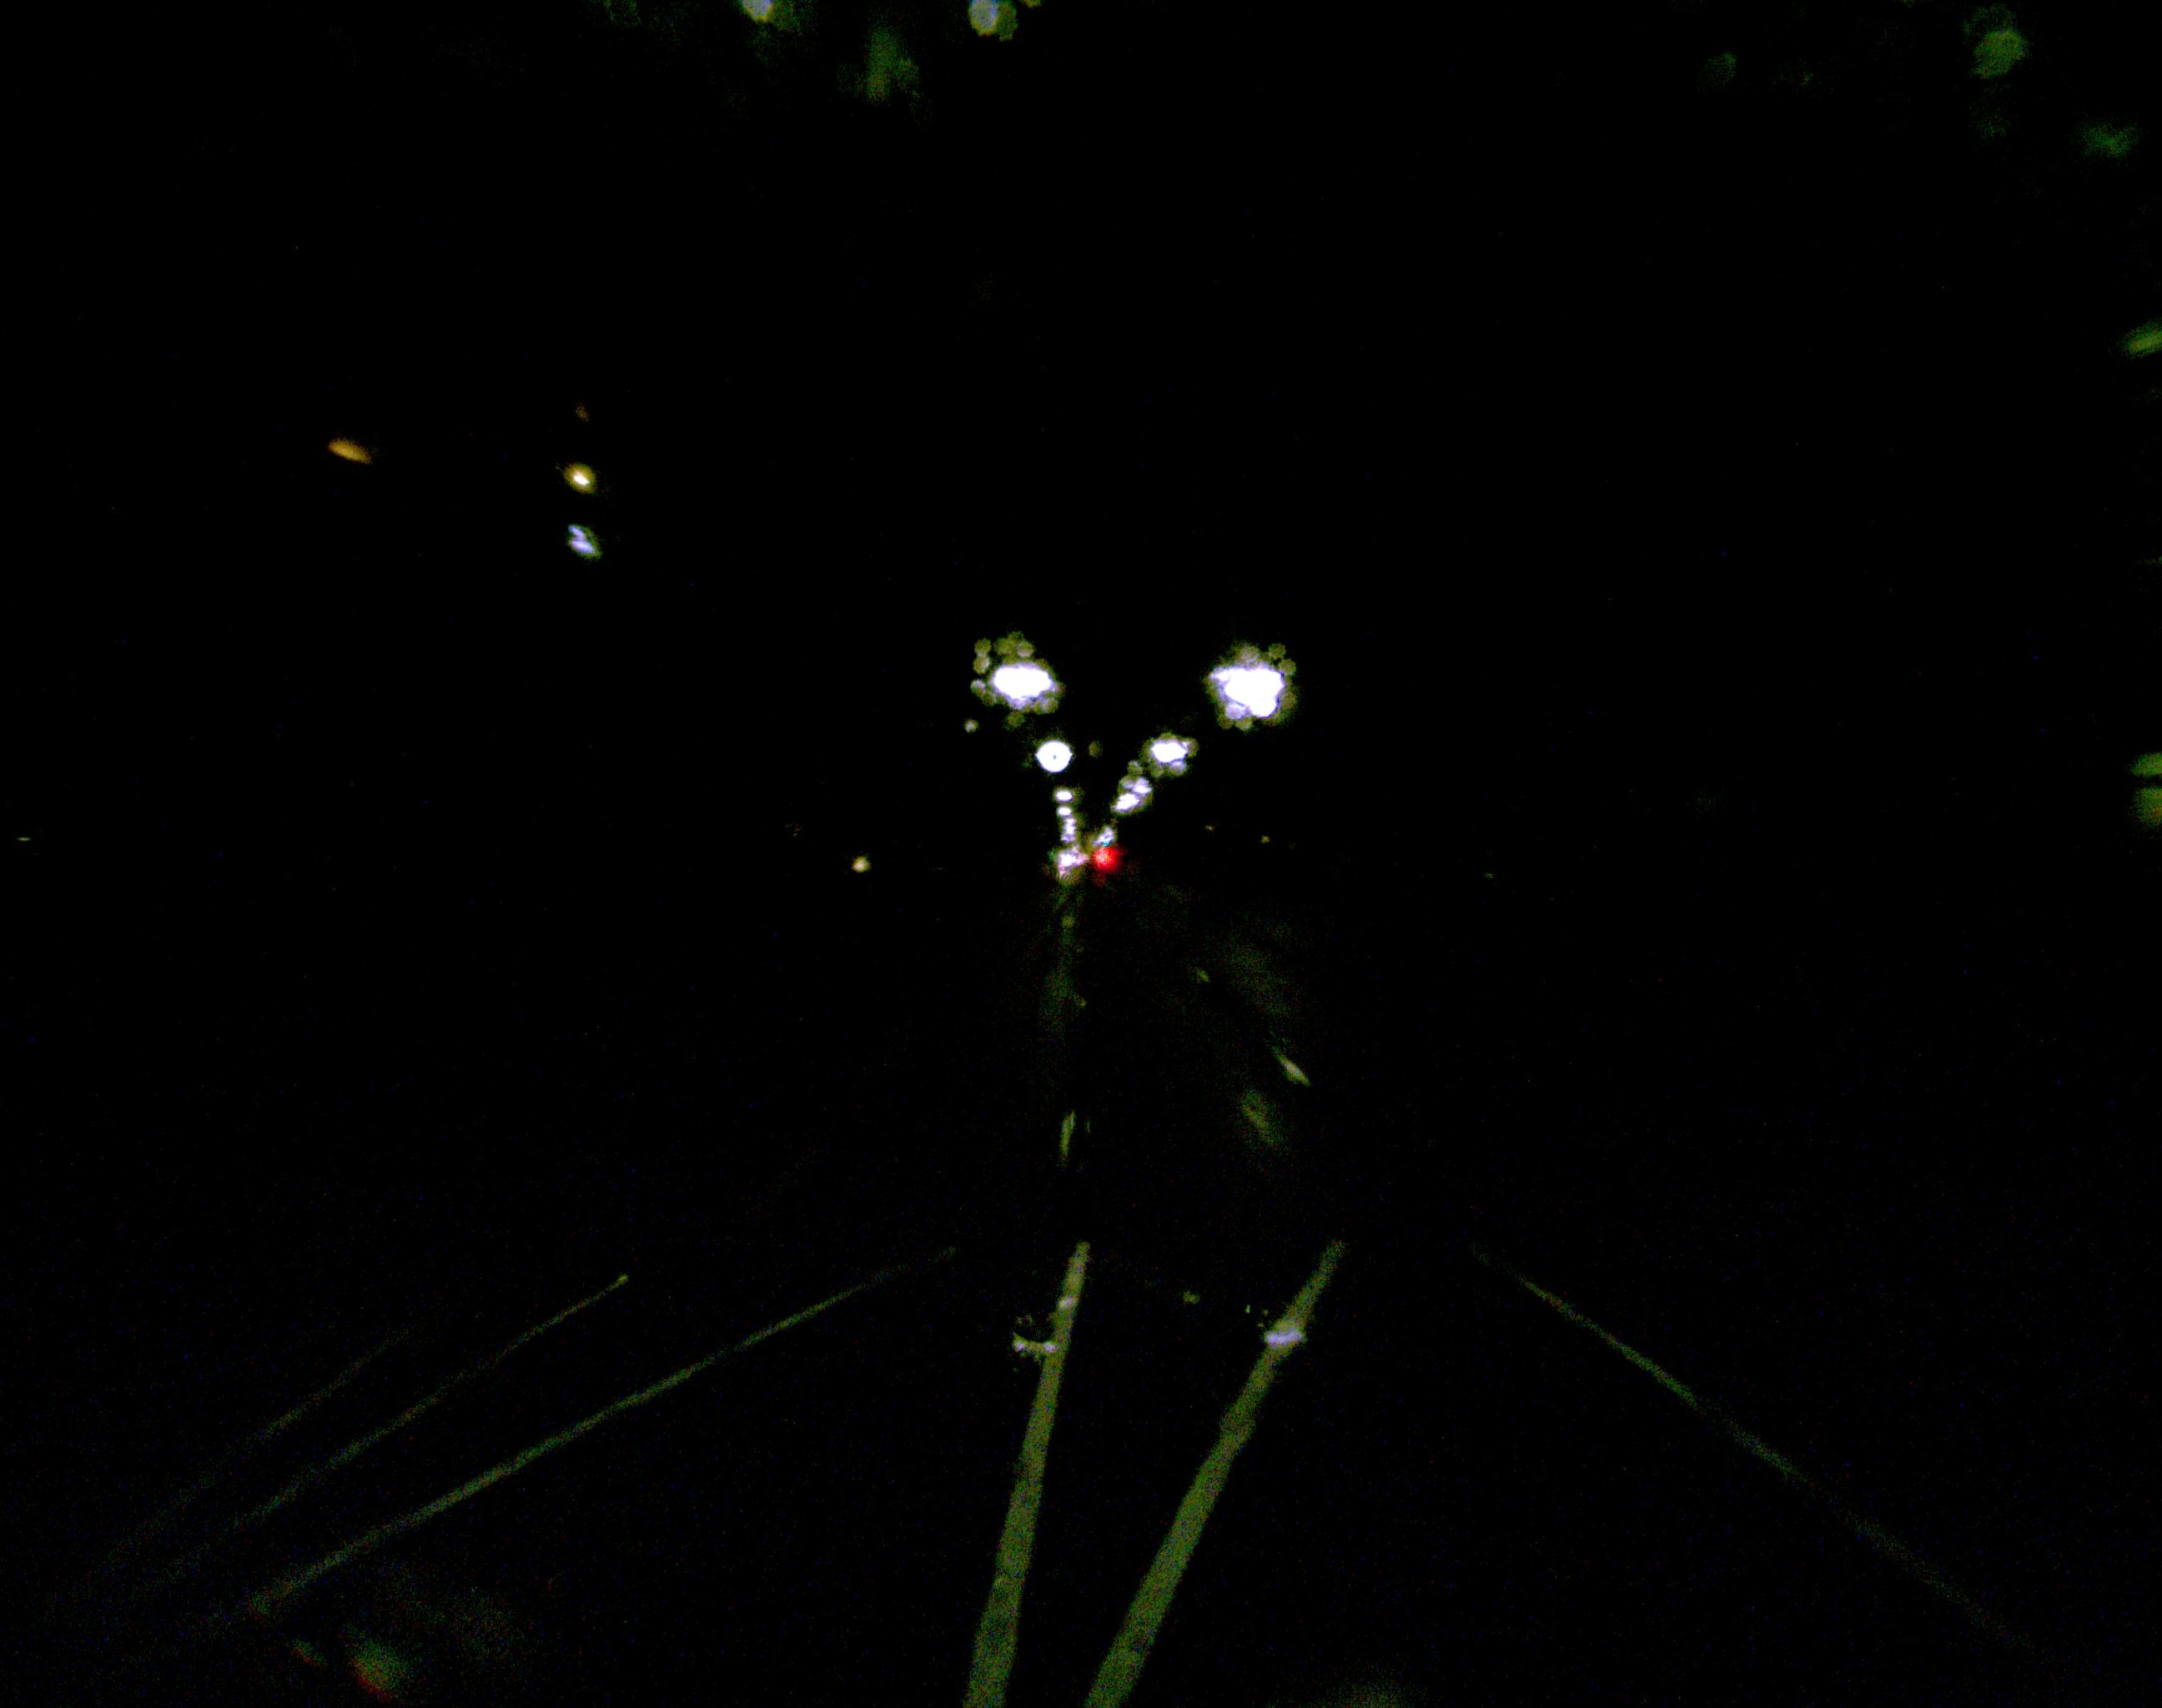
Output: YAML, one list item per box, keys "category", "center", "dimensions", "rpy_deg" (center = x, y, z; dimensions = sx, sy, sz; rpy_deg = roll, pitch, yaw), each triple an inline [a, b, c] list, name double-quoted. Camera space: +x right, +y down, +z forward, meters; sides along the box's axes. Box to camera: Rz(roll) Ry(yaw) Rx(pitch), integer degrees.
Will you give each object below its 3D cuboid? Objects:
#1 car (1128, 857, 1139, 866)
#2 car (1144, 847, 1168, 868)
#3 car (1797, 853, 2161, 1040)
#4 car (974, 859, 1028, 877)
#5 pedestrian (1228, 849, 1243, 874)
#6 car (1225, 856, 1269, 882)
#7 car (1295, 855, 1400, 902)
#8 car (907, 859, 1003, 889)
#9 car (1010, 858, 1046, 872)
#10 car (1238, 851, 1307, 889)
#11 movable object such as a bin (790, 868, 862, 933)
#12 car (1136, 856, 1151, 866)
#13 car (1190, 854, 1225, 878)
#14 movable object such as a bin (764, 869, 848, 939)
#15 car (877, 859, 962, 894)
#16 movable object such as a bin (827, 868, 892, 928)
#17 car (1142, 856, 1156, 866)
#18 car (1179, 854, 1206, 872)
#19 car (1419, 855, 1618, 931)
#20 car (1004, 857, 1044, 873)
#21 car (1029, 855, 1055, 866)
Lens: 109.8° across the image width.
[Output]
- category: "car"
  center: [9.784, 1.401, 142.228]
  dimensions: [1.693, 1.565, 3.918]
  rpy_deg: [-2, 0, 0]
- category: "car"
  center: [9.824, 0.451, 99.979]
  dimensions: [2.248, 2.494, 5.259]
  rpy_deg: [-4, 0, -2]
- category: "car"
  center: [9.492, 0.737, 6.486]
  dimensions: [1.893, 1.454, 4.958]
  rpy_deg: [-1, 0, -4]
- category: "car"
  center: [-6.781, 1.180, 64.537]
  dimensions: [4.350, 1.459, 1.677]
  rpy_deg: [-1, 0, -38]
- category: "pedestrian"
  center: [11.944, 0.563, 58.789]
  dimensions: [0.794, 1.890, 1.290]
  rpy_deg: [-2, 1, 1]
- category: "car"
  center: [10.169, 0.913, 46.913]
  dimensions: [1.735, 1.430, 4.625]
  rpy_deg: [-2, 0, 1]
- category: "car"
  center: [9.057, 0.785, 26.231]
  dimensions: [1.778, 1.432, 4.606]
  rpy_deg: [-1, 0, -3]
- category: "car"
  center: [-6.457, 0.980, 38.928]
  dimensions: [4.604, 1.467, 1.837]
  rpy_deg: [0, 0, -19]
- category: "car"
  center: [-6.324, 1.275, 90.463]
  dimensions: [1.658, 1.473, 4.194]
  rpy_deg: [-3, -1, 42]
- category: "car"
  center: [9.384, 0.721, 37.640]
  dimensions: [2.149, 1.610, 4.589]
  rpy_deg: [-4, 0, 0]
- category: "movable object such as a bin"
  center: [-5.868, 1.055, 17.565]
  dimensions: [1.210, 1.414, 1.101]
  rpy_deg: [0, 1, 6]
- category: "car"
  center: [9.959, 1.105, 120.924]
  dimensions: [1.846, 1.572, 3.663]
  rpy_deg: [-4, 0, -1]
- category: "car"
  center: [9.556, 0.883, 57.753]
  dimensions: [1.814, 1.569, 4.353]
  rpy_deg: [-4, 0, 0]
- category: "movable object such as a bin"
  center: [-5.914, 1.050, 16.439]
  dimensions: [1.371, 1.414, 1.073]
  rpy_deg: [0, 1, 6]
- category: "car"
  center: [-7.477, 0.999, 35.079]
  dimensions: [3.708, 1.509, 1.656]
  rpy_deg: [0, 0, -18]
- category: "movable object such as a bin"
  center: [-5.438, 1.062, 18.722]
  dimensions: [1.326, 1.400, 1.159]
  rpy_deg: [0, 1, -5]
- category: "car"
  center: [10.015, 0.996, 112.044]
  dimensions: [1.720, 1.399, 3.389]
  rpy_deg: [-4, 0, -1]
- category: "car"
  center: [9.758, 0.780, 66.484]
  dimensions: [1.723, 1.447, 3.950]
  rpy_deg: [-2, 0, 0]
- category: "car"
  center: [9.412, 0.757, 16.814]
  dimensions: [1.845, 1.415, 4.208]
  rpy_deg: [-1, 0, -3]
- category: "car"
  center: [-5.870, 1.133, 77.998]
  dimensions: [1.707, 1.503, 3.914]
  rpy_deg: [-1, 1, 43]
- category: "car"
  center: [-6.264, 1.059, 123.063]
  dimensions: [3.965, 1.760, 1.666]
  rpy_deg: [-2, 1, -37]
